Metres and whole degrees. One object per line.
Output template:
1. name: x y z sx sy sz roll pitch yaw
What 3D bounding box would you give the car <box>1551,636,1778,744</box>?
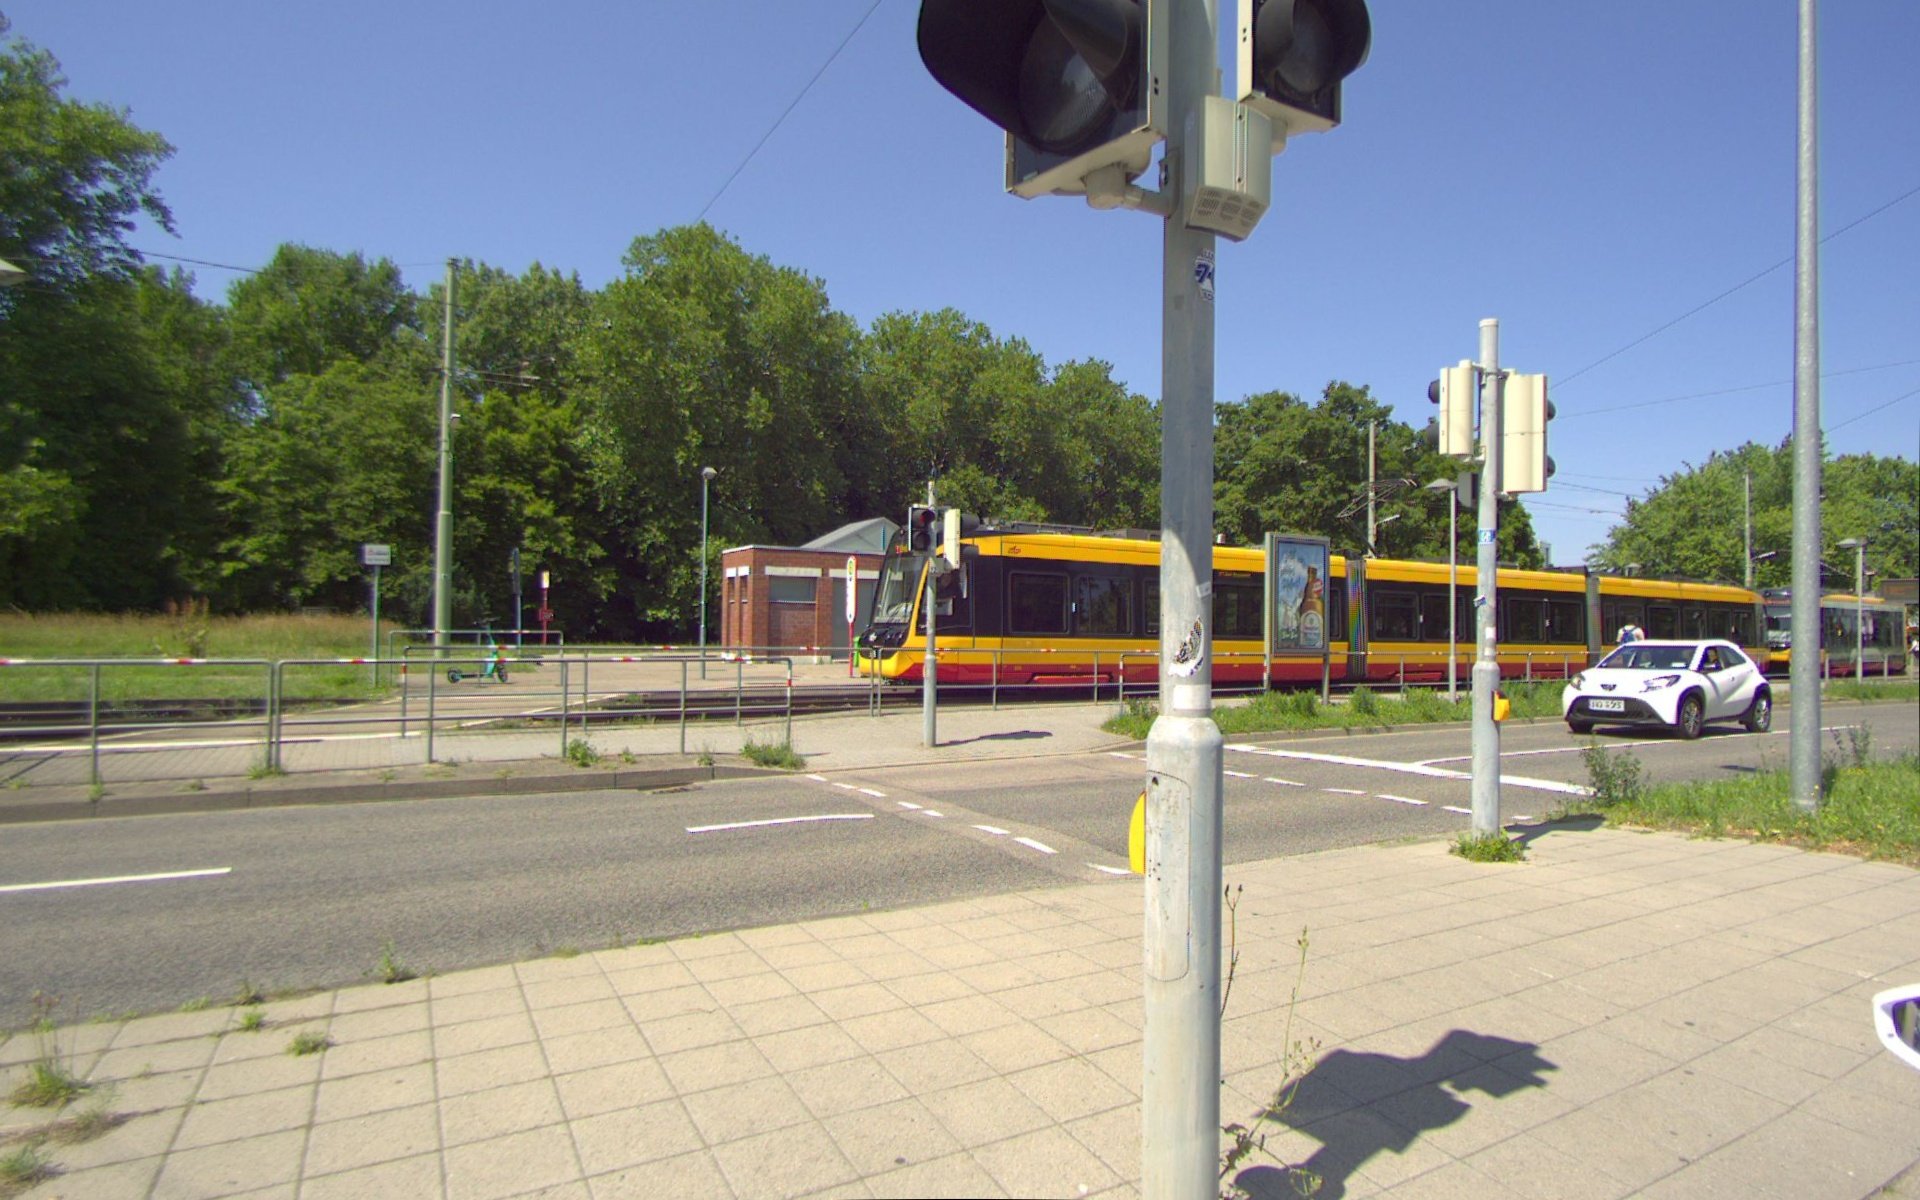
1. car: 11.516 1.388 16.386 3.679 1.524 1.760 2 -1 -32

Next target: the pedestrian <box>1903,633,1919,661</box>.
1. pedestrian: 55.776 2.758 58.775 0.533 1.586 0.793 1 0 -44

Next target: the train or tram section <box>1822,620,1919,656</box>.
1. train or tram section: 102.924 4.215 109.730 3.026 3.512 13.089 1 0 -44

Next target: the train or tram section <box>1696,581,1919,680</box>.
1. train or tram section: 35.846 1.287 42.169 13.742 3.673 3.027 2 0 -32

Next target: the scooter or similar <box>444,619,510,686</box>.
1. scooter or similar: -9.394 1.011 19.534 1.087 1.253 0.765 2 0 -30

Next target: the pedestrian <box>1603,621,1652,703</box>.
1. pedestrian: 15.257 1.400 22.964 0.768 1.815 0.628 1 0 -32

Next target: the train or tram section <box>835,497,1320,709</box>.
1. train or tram section: 3.044 0.176 22.688 11.407 3.907 2.935 2 0 -31

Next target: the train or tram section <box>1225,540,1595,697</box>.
1. train or tram section: 13.259 0.591 28.836 12.449 3.791 3.028 2 0 -31

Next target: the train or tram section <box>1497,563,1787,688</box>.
1. train or tram section: 24.308 0.937 35.359 13.105 3.817 3.029 2 0 -30

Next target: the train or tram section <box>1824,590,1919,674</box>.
1. train or tram section: 45.066 1.519 49.280 12.370 3.673 3.013 2 0 -45
